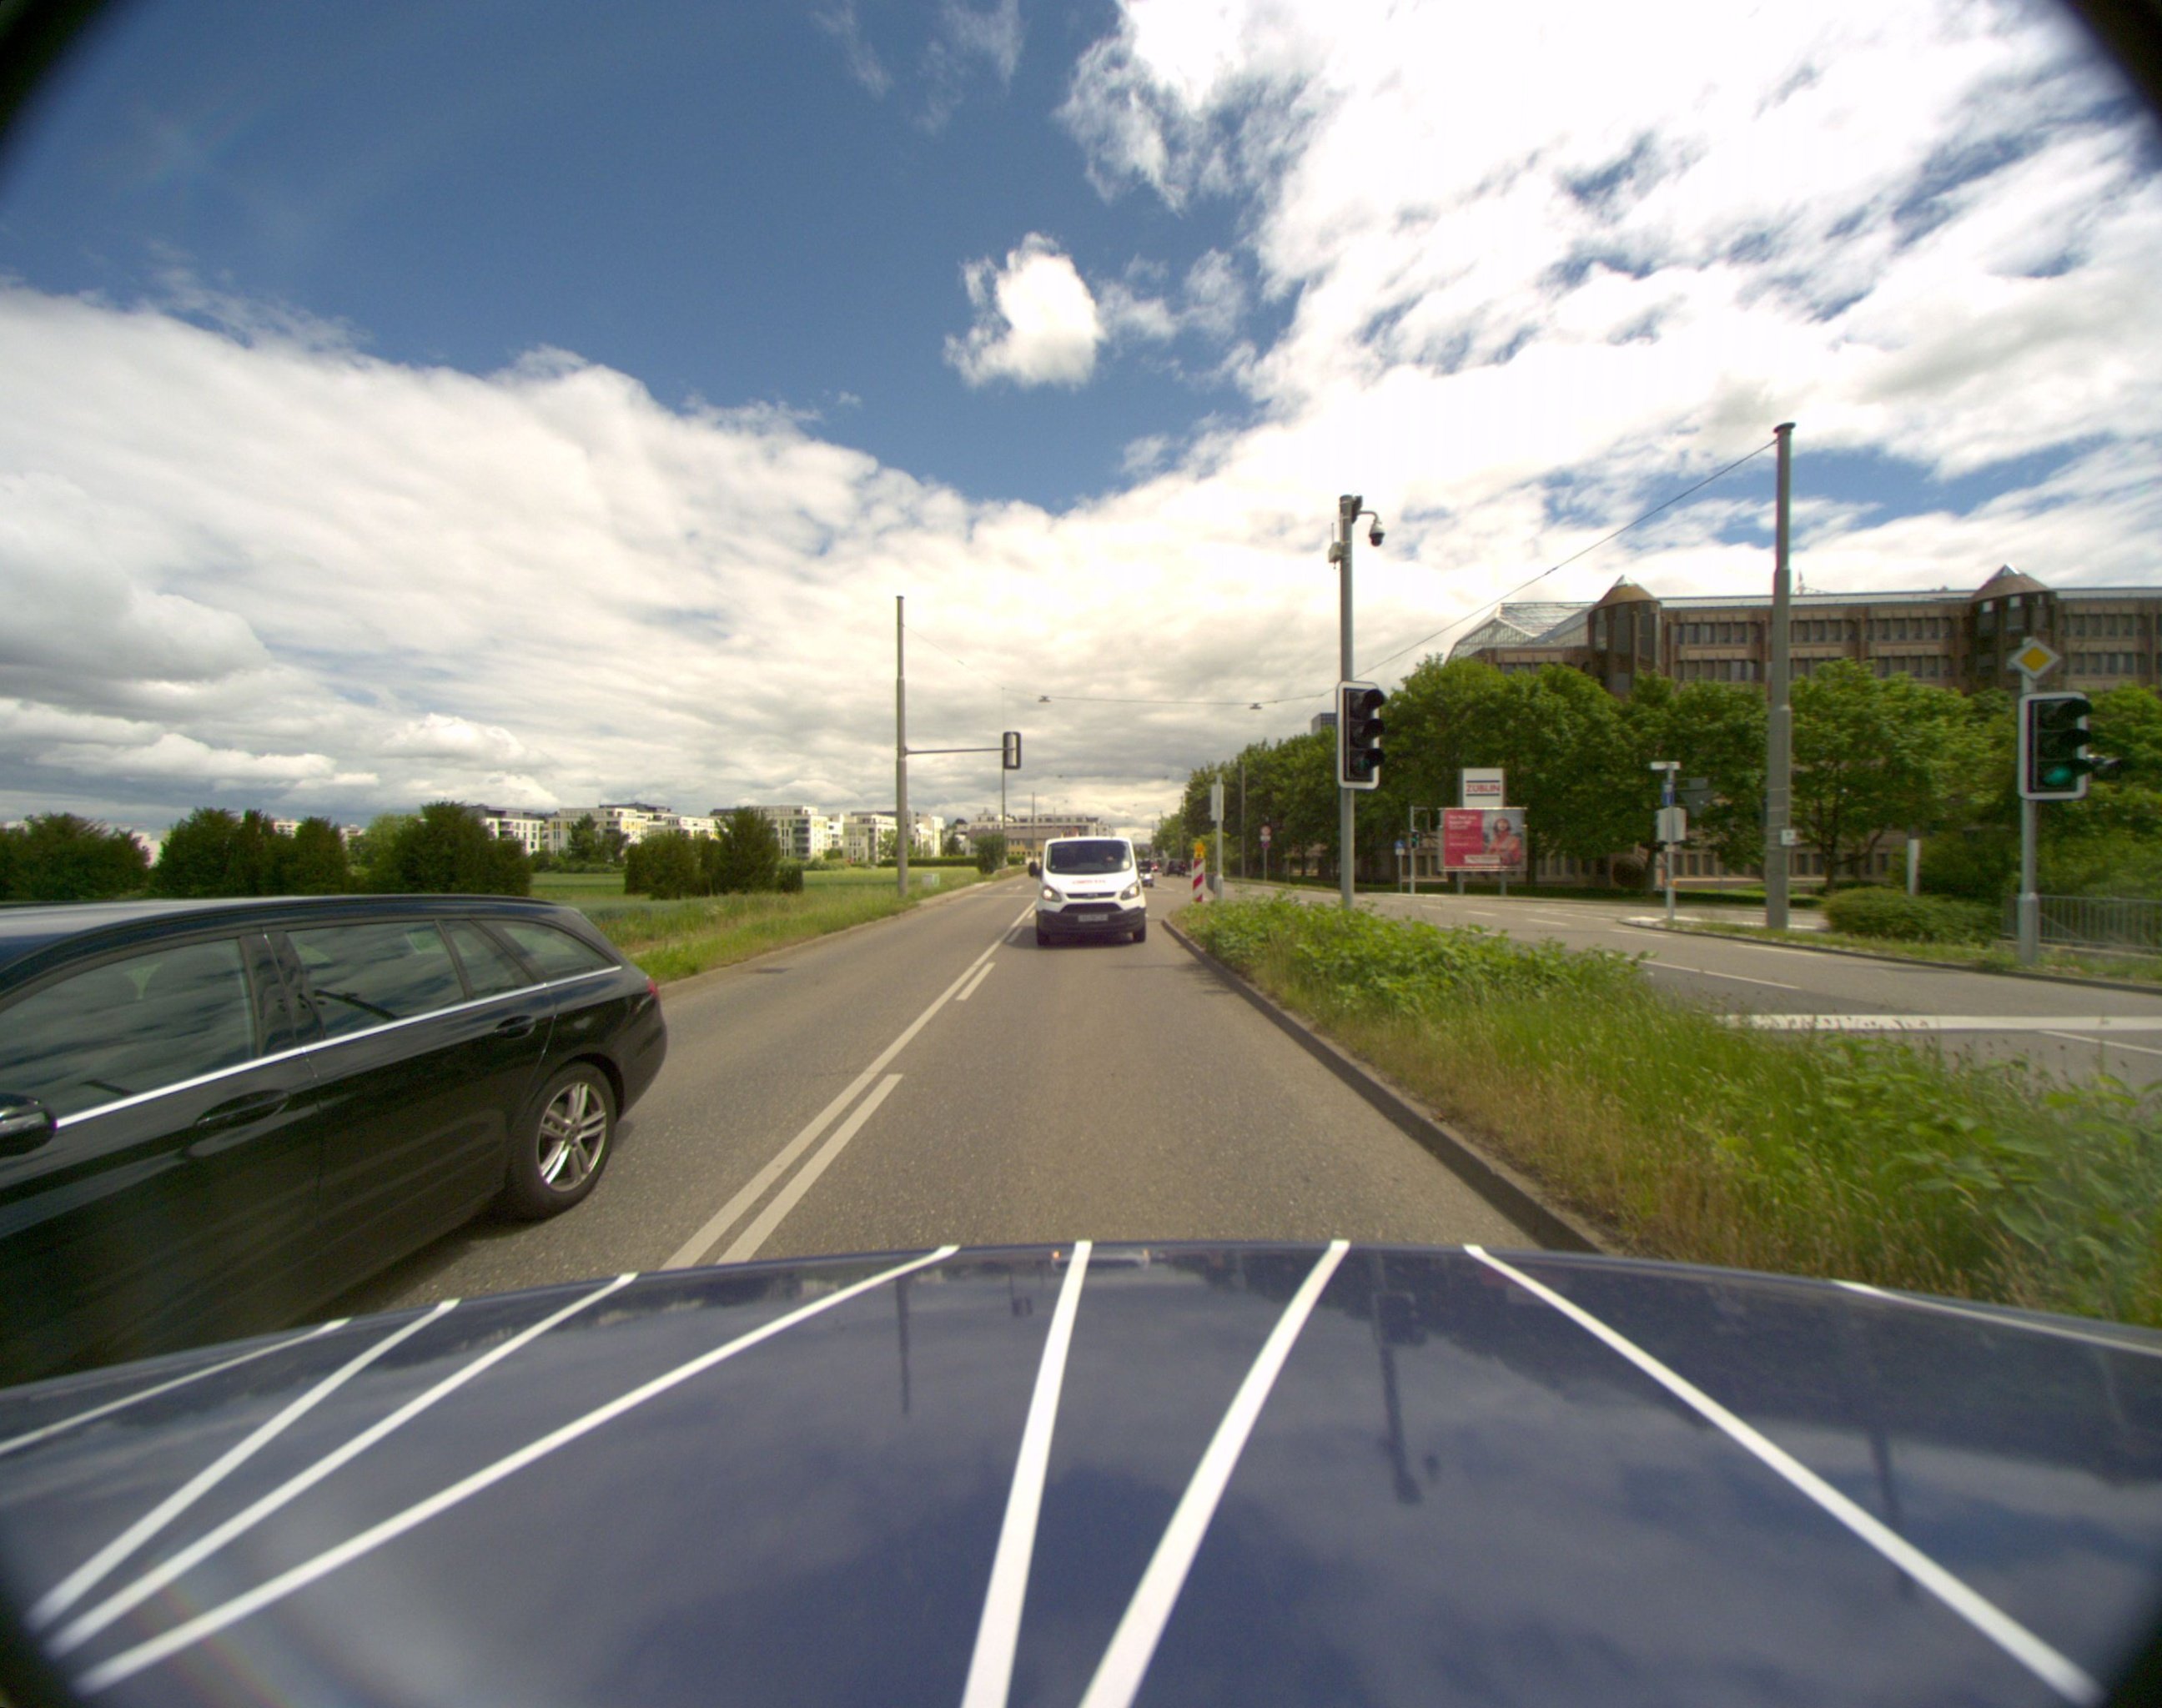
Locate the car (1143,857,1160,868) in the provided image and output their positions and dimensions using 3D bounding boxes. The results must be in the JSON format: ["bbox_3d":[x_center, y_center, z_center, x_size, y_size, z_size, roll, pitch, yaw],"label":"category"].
[{"bbox_3d":[9.372,1.132,101.189,1.785,1.407,3.999,1,0,-1],"label":"car"}]

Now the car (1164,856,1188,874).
[{"bbox_3d":[9.493,1.107,76.131,1.998,1.692,4.761,0,0,2],"label":"car"}]

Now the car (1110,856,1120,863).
[{"bbox_3d":[7.271,1.227,162.940,1.800,1.445,4.000,1,0,-1],"label":"car"}]

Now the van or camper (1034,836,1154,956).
[{"bbox_3d":[0.184,0.713,15.671,1.999,2.002,5.799,0,0,-1],"label":"van or camper"}]

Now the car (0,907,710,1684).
[{"bbox_3d":[-3.244,1.053,2.159,1.877,1.432,5.199,0,0,-1],"label":"car"}]

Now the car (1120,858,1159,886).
[{"bbox_3d":[3.219,0.984,42.561,1.894,1.433,4.000,-1,0,0],"label":"car"}]
